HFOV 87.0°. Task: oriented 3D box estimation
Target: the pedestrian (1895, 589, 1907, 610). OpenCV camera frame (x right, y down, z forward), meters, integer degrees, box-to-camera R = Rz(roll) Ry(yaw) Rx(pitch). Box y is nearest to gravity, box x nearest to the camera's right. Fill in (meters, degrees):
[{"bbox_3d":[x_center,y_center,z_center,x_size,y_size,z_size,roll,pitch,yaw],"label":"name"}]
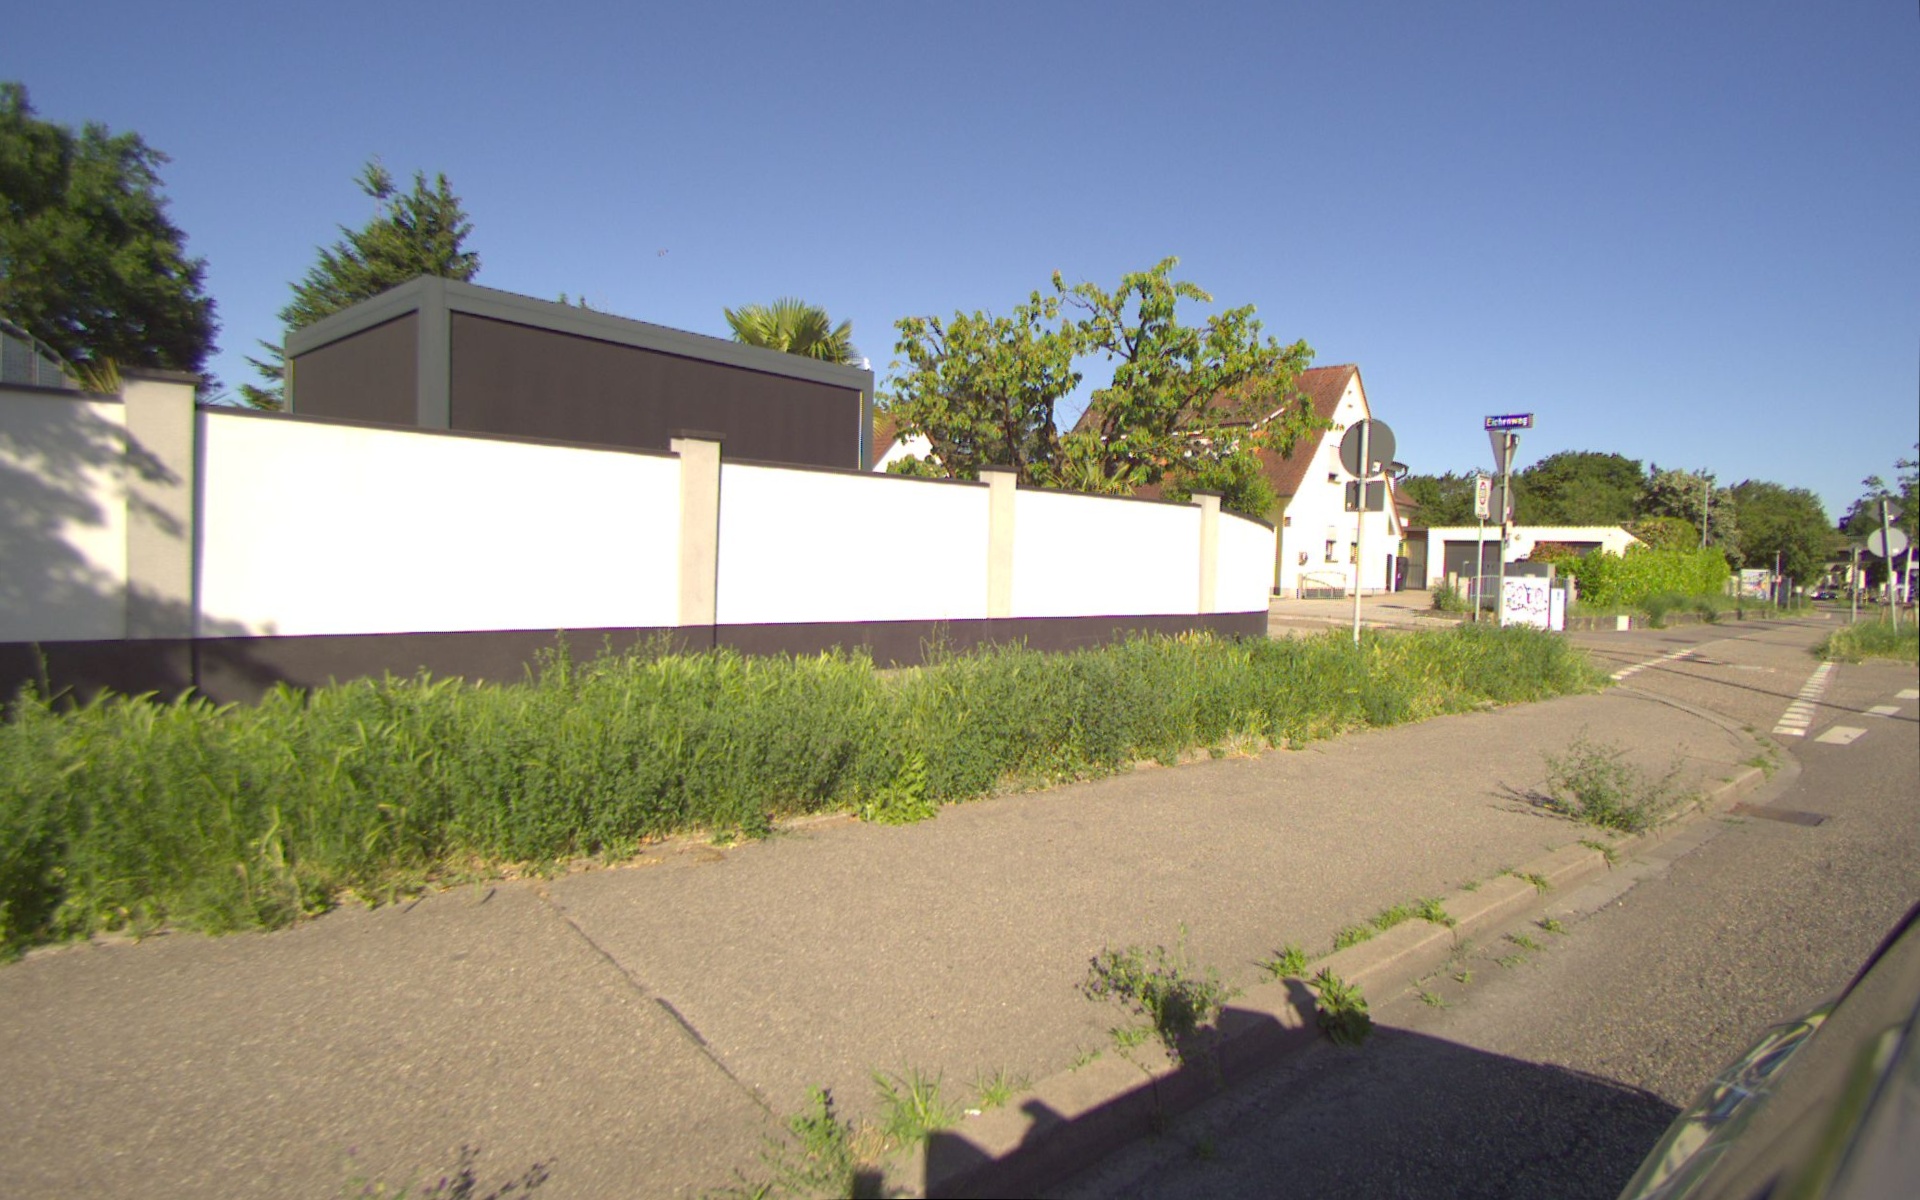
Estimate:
[{"bbox_3d":[78.086,-0.015,83.951,0.587,1.682,0.706,4,2,39],"label":"pedestrian"}]
